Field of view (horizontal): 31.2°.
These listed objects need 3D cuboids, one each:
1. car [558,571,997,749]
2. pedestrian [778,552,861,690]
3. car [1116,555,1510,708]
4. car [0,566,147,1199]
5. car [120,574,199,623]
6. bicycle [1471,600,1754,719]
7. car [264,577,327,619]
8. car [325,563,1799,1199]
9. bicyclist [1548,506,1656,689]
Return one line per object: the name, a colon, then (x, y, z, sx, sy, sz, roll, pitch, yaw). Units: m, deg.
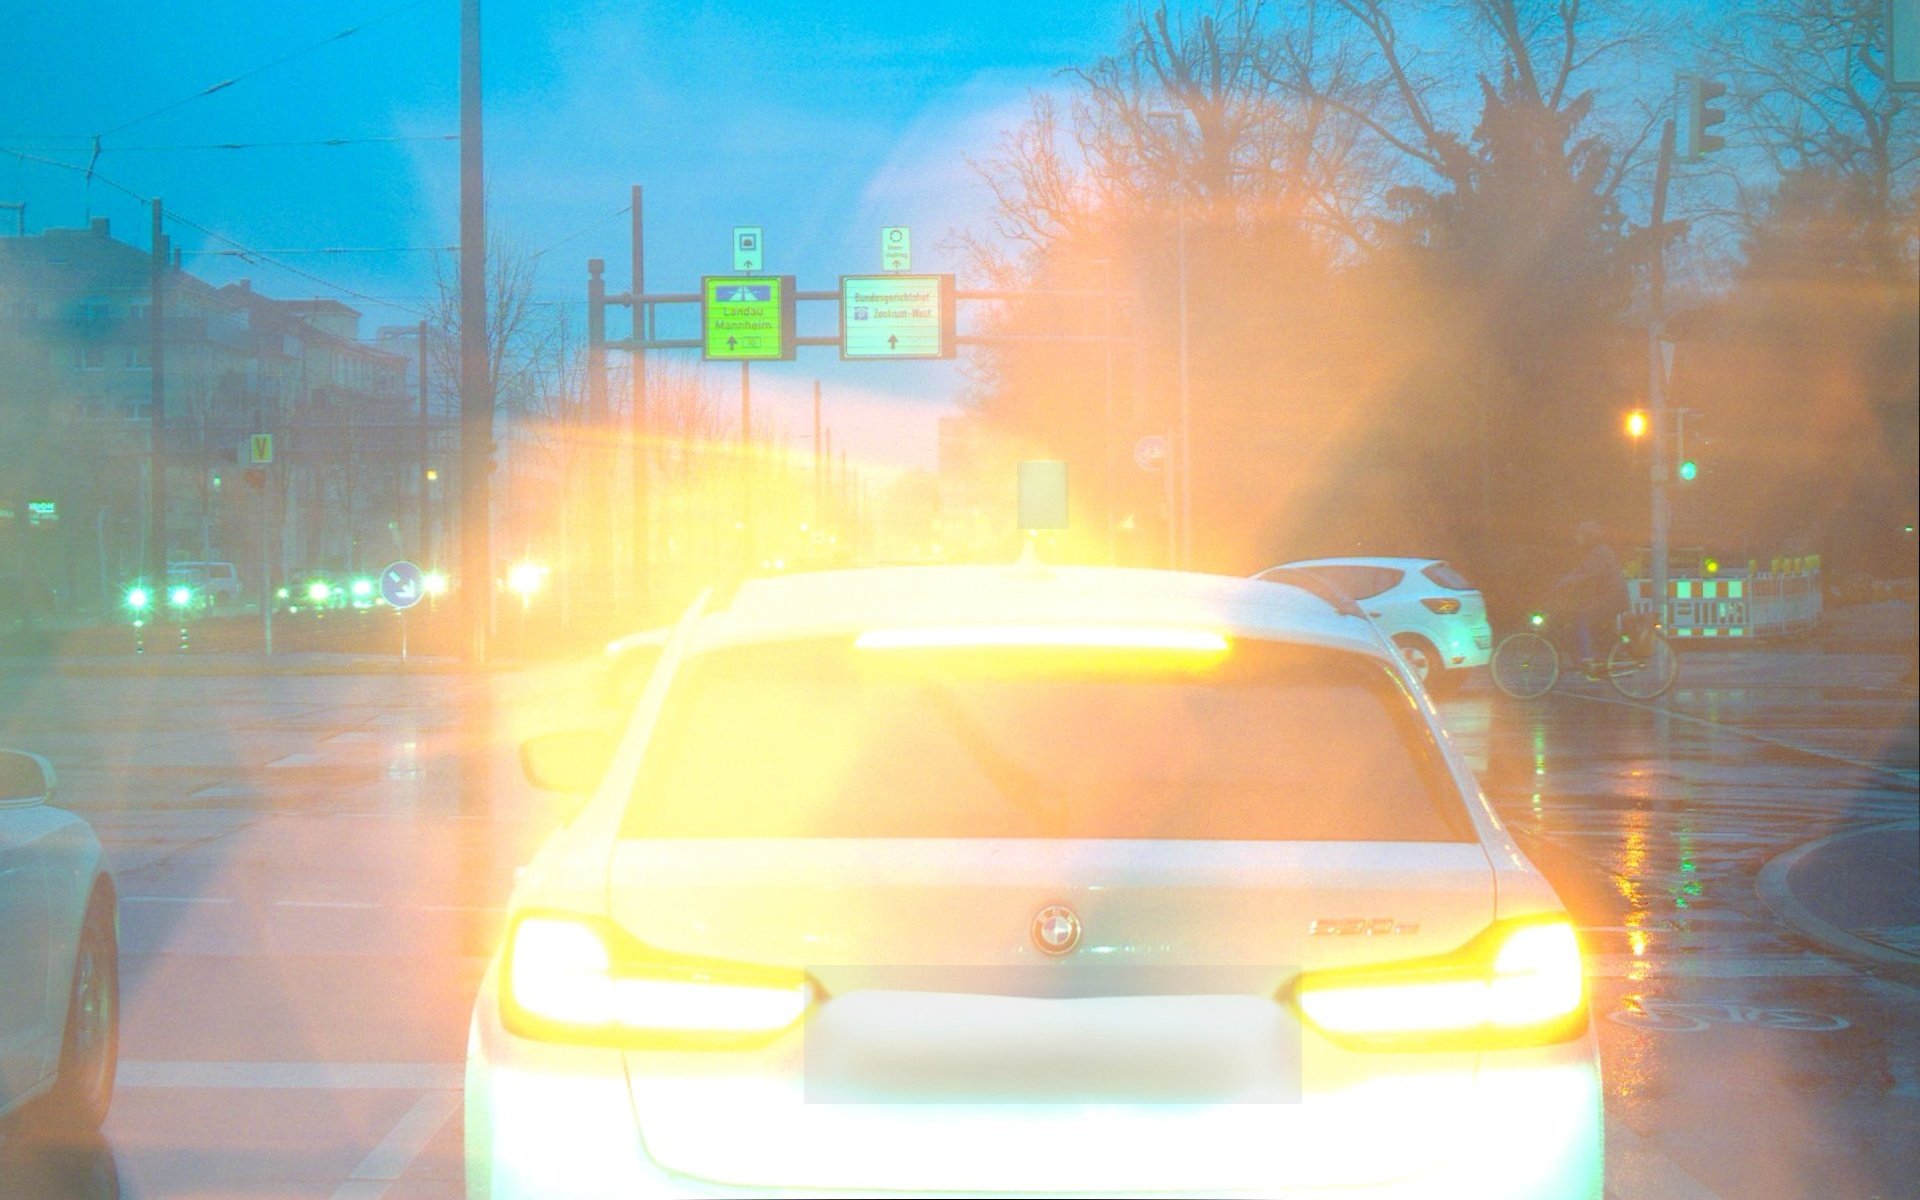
car: (-1.604, 0.520, 30.954, 3.689, 1.473, 1.628, 1, 0, 7)
pedestrian: (-1.911, 0.282, 46.787, 0.903, 1.850, 0.812, 1, 0, 14)
car: (3.873, 0.331, 37.673, 3.959, 1.548, 1.747, 1, 0, 20)
car: (-3.097, 0.670, 7.054, 1.993, 1.451, 4.369, 0, 1, -2)
car: (-25.185, -0.050, 108.259, 1.675, 1.502, 3.696, 1, 0, -1)
bicycle: (6.402, 0.569, 33.721, 2.668, 1.085, 0.814, 1, 0, 14)
car: (-24.857, -0.068, 128.671, 1.675, 1.502, 3.696, 1, 0, -1)
car: (0.049, 0.673, 6.836, 1.993, 1.451, 4.369, 0, 1, -2)
bicyclist: (6.309, -0.027, 33.749, 0.973, 1.753, 0.813, 1, 0, 13)
